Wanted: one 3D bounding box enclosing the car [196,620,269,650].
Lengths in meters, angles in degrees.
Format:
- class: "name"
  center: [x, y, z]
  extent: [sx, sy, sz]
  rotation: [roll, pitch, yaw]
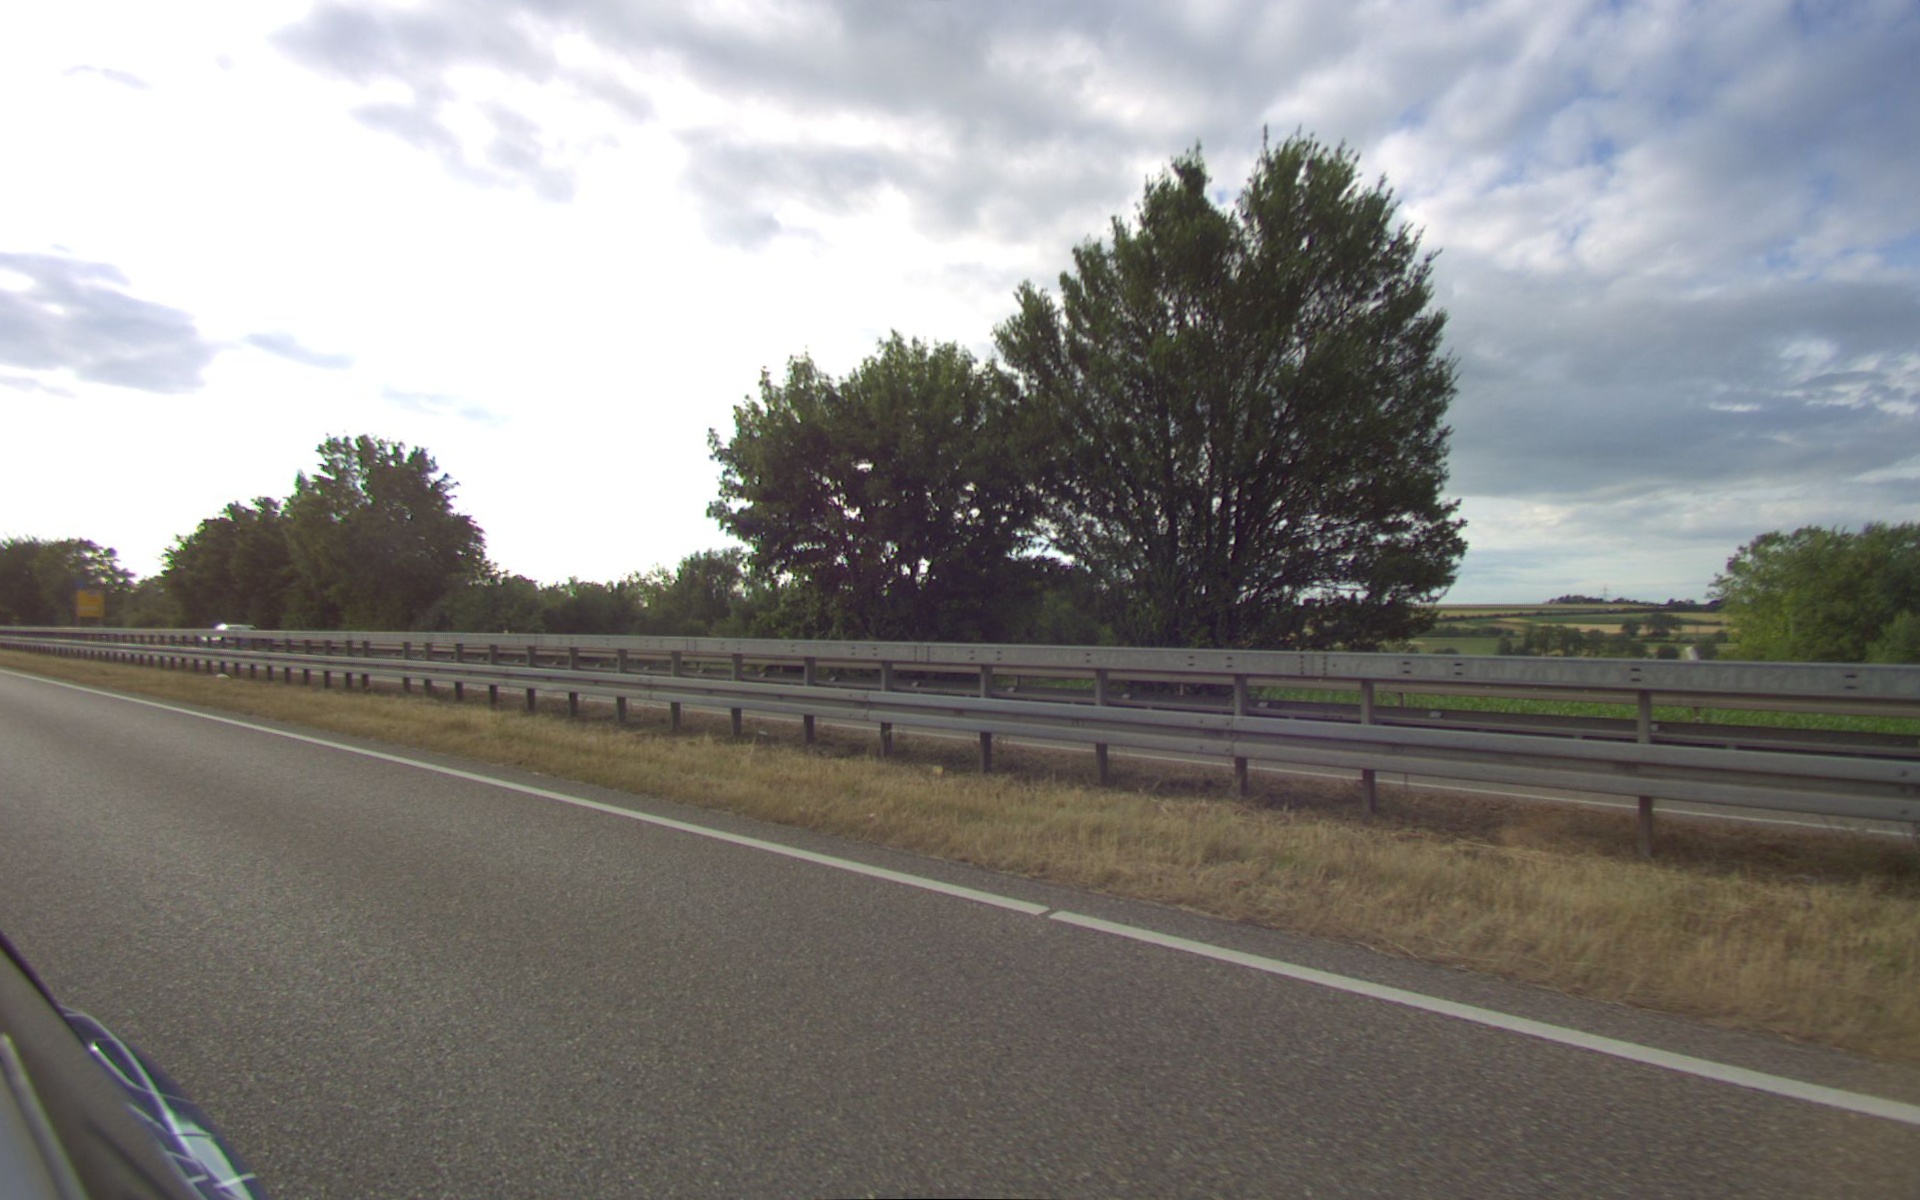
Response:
- class: "car"
  center: [-34.775, 1.668, 48.333]
  extent: [4.573, 1.362, 1.763]
  rotation: [-1, -2, 40]
